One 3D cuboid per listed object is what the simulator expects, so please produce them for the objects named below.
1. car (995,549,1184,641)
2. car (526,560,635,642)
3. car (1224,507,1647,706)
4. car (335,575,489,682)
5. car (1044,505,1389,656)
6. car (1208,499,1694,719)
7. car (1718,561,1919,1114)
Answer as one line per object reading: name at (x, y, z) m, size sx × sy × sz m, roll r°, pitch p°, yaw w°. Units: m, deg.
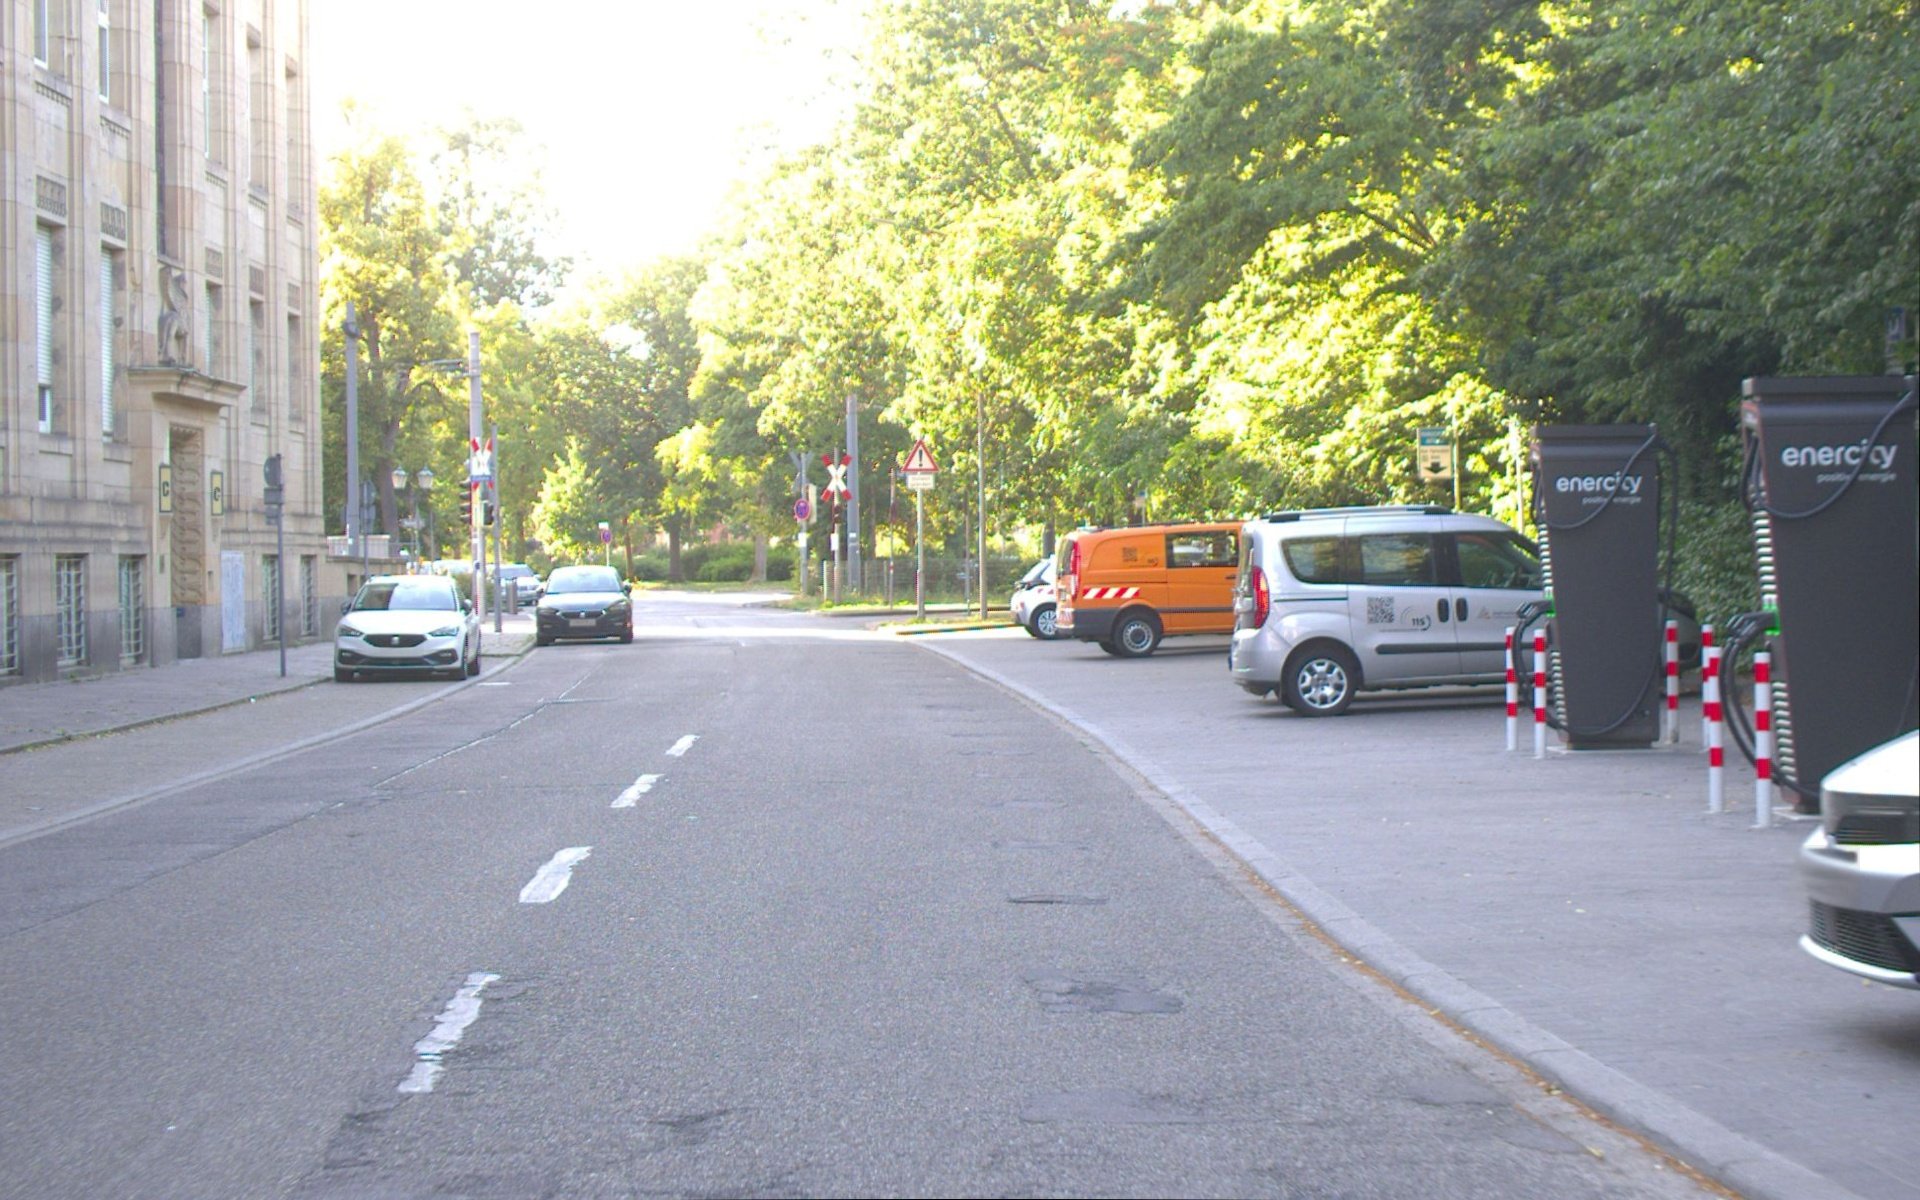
car at (2.321, -0.095, 62.149) m, size 3.143 × 1.498 × 1.541 m, roll -3°, pitch 1°, yaw -7°
car at (-7.197, 0.000, 65.534) m, size 1.878 × 1.461 × 4.374 m, roll -1°, pitch 1°, yaw -4°
car at (4.785, 0.050, 34.945) m, size 4.024 × 1.829 × 1.614 m, roll -2°, pitch 1°, yaw 0°
car at (-7.617, 0.363, 48.072) m, size 1.727 × 1.392 × 4.374 m, roll 0°, pitch 1°, yaw -4°
car at (3.817, -0.299, 51.602) m, size 4.817 × 2.007 × 1.802 m, roll -3°, pitch 1°, yaw -7°
car at (4.541, 0.076, 32.295) m, size 4.228 × 1.853 × 2.000 m, roll -2°, pitch 0°, yaw 0°
car at (4.690, 0.569, 10.172) m, size 4.440 × 1.464 × 1.782 m, roll -2°, pitch 1°, yaw -1°
